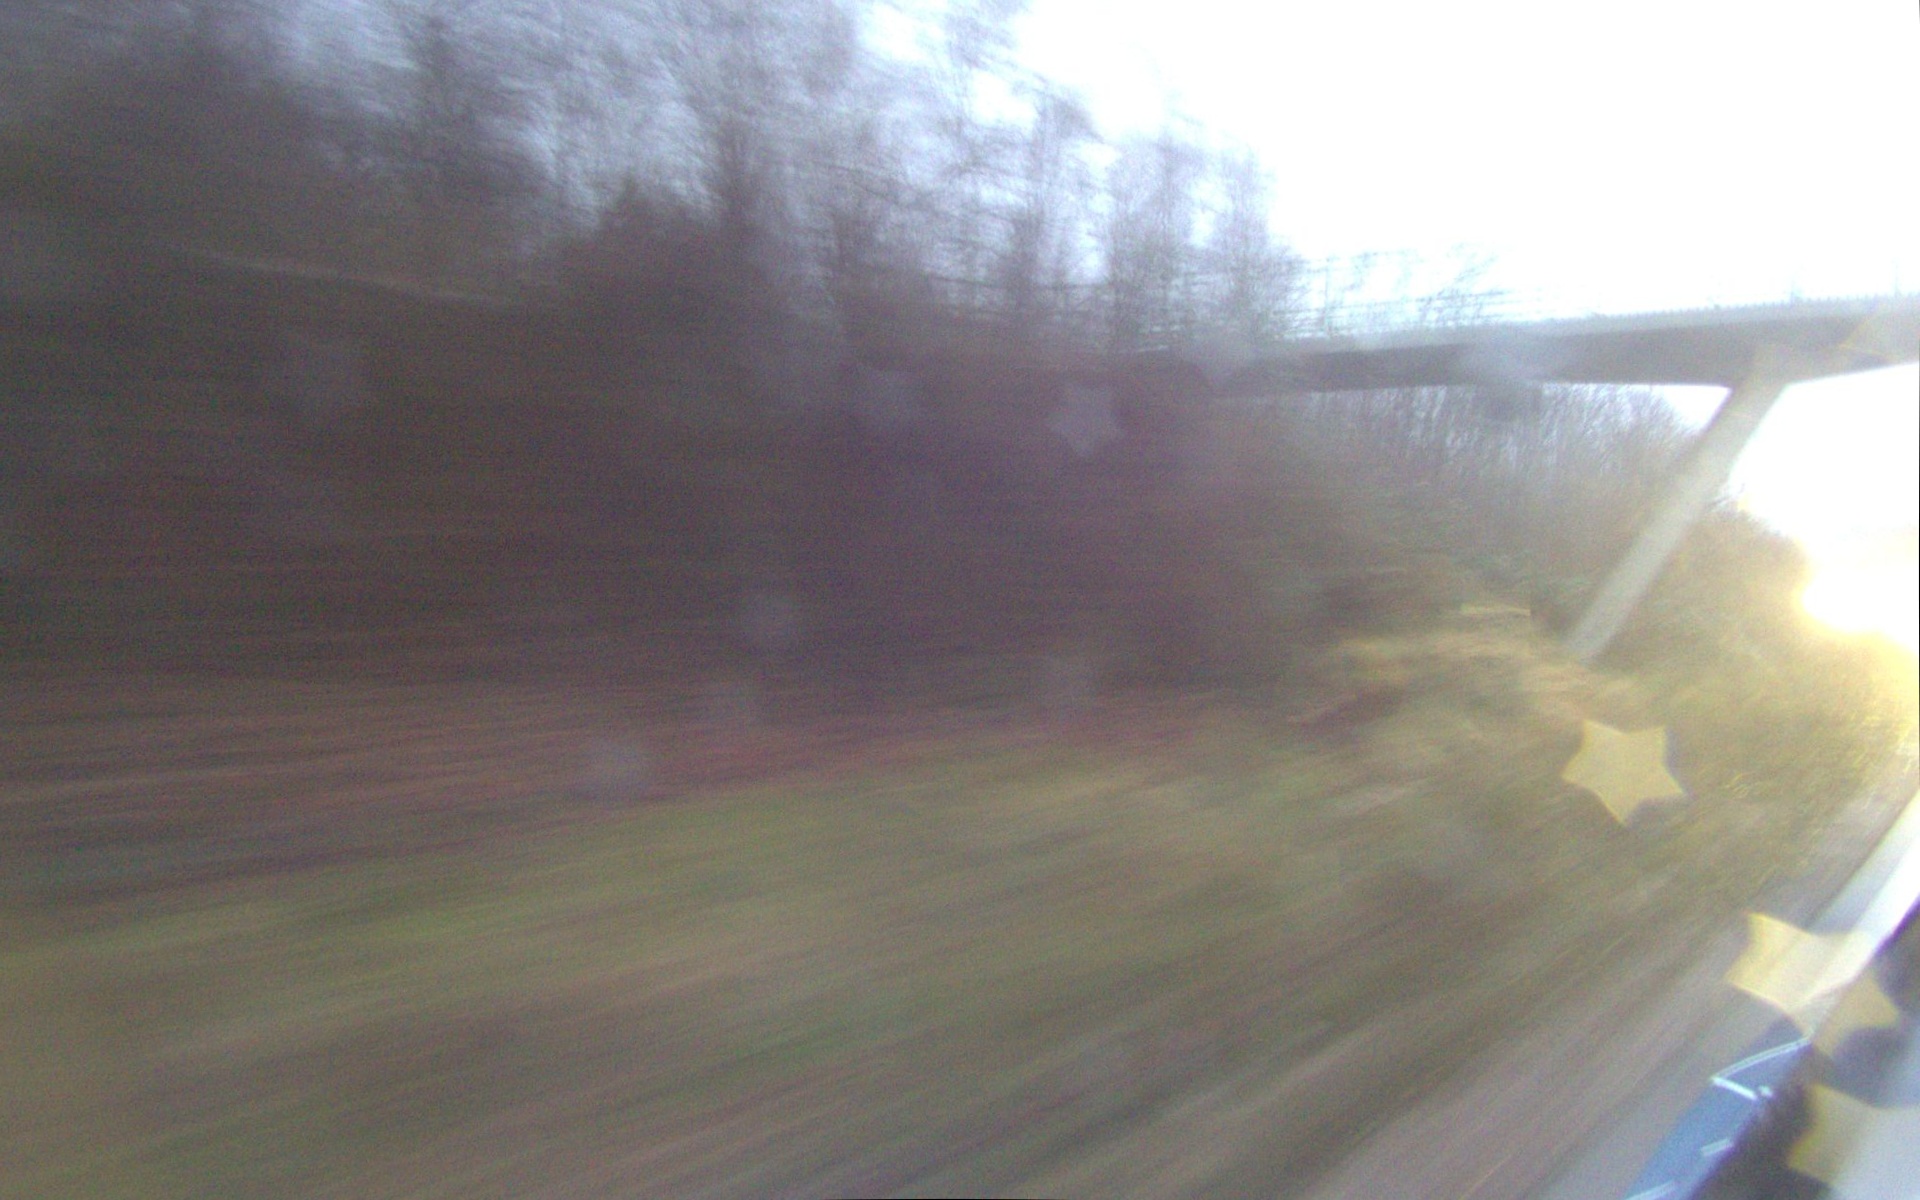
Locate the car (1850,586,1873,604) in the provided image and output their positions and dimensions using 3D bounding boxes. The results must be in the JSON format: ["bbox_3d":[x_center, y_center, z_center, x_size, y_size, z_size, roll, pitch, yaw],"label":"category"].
[{"bbox_3d":[97.840,-0.556,109.855,1.694,1.752,3.944,0,2,39],"label":"car"}]
